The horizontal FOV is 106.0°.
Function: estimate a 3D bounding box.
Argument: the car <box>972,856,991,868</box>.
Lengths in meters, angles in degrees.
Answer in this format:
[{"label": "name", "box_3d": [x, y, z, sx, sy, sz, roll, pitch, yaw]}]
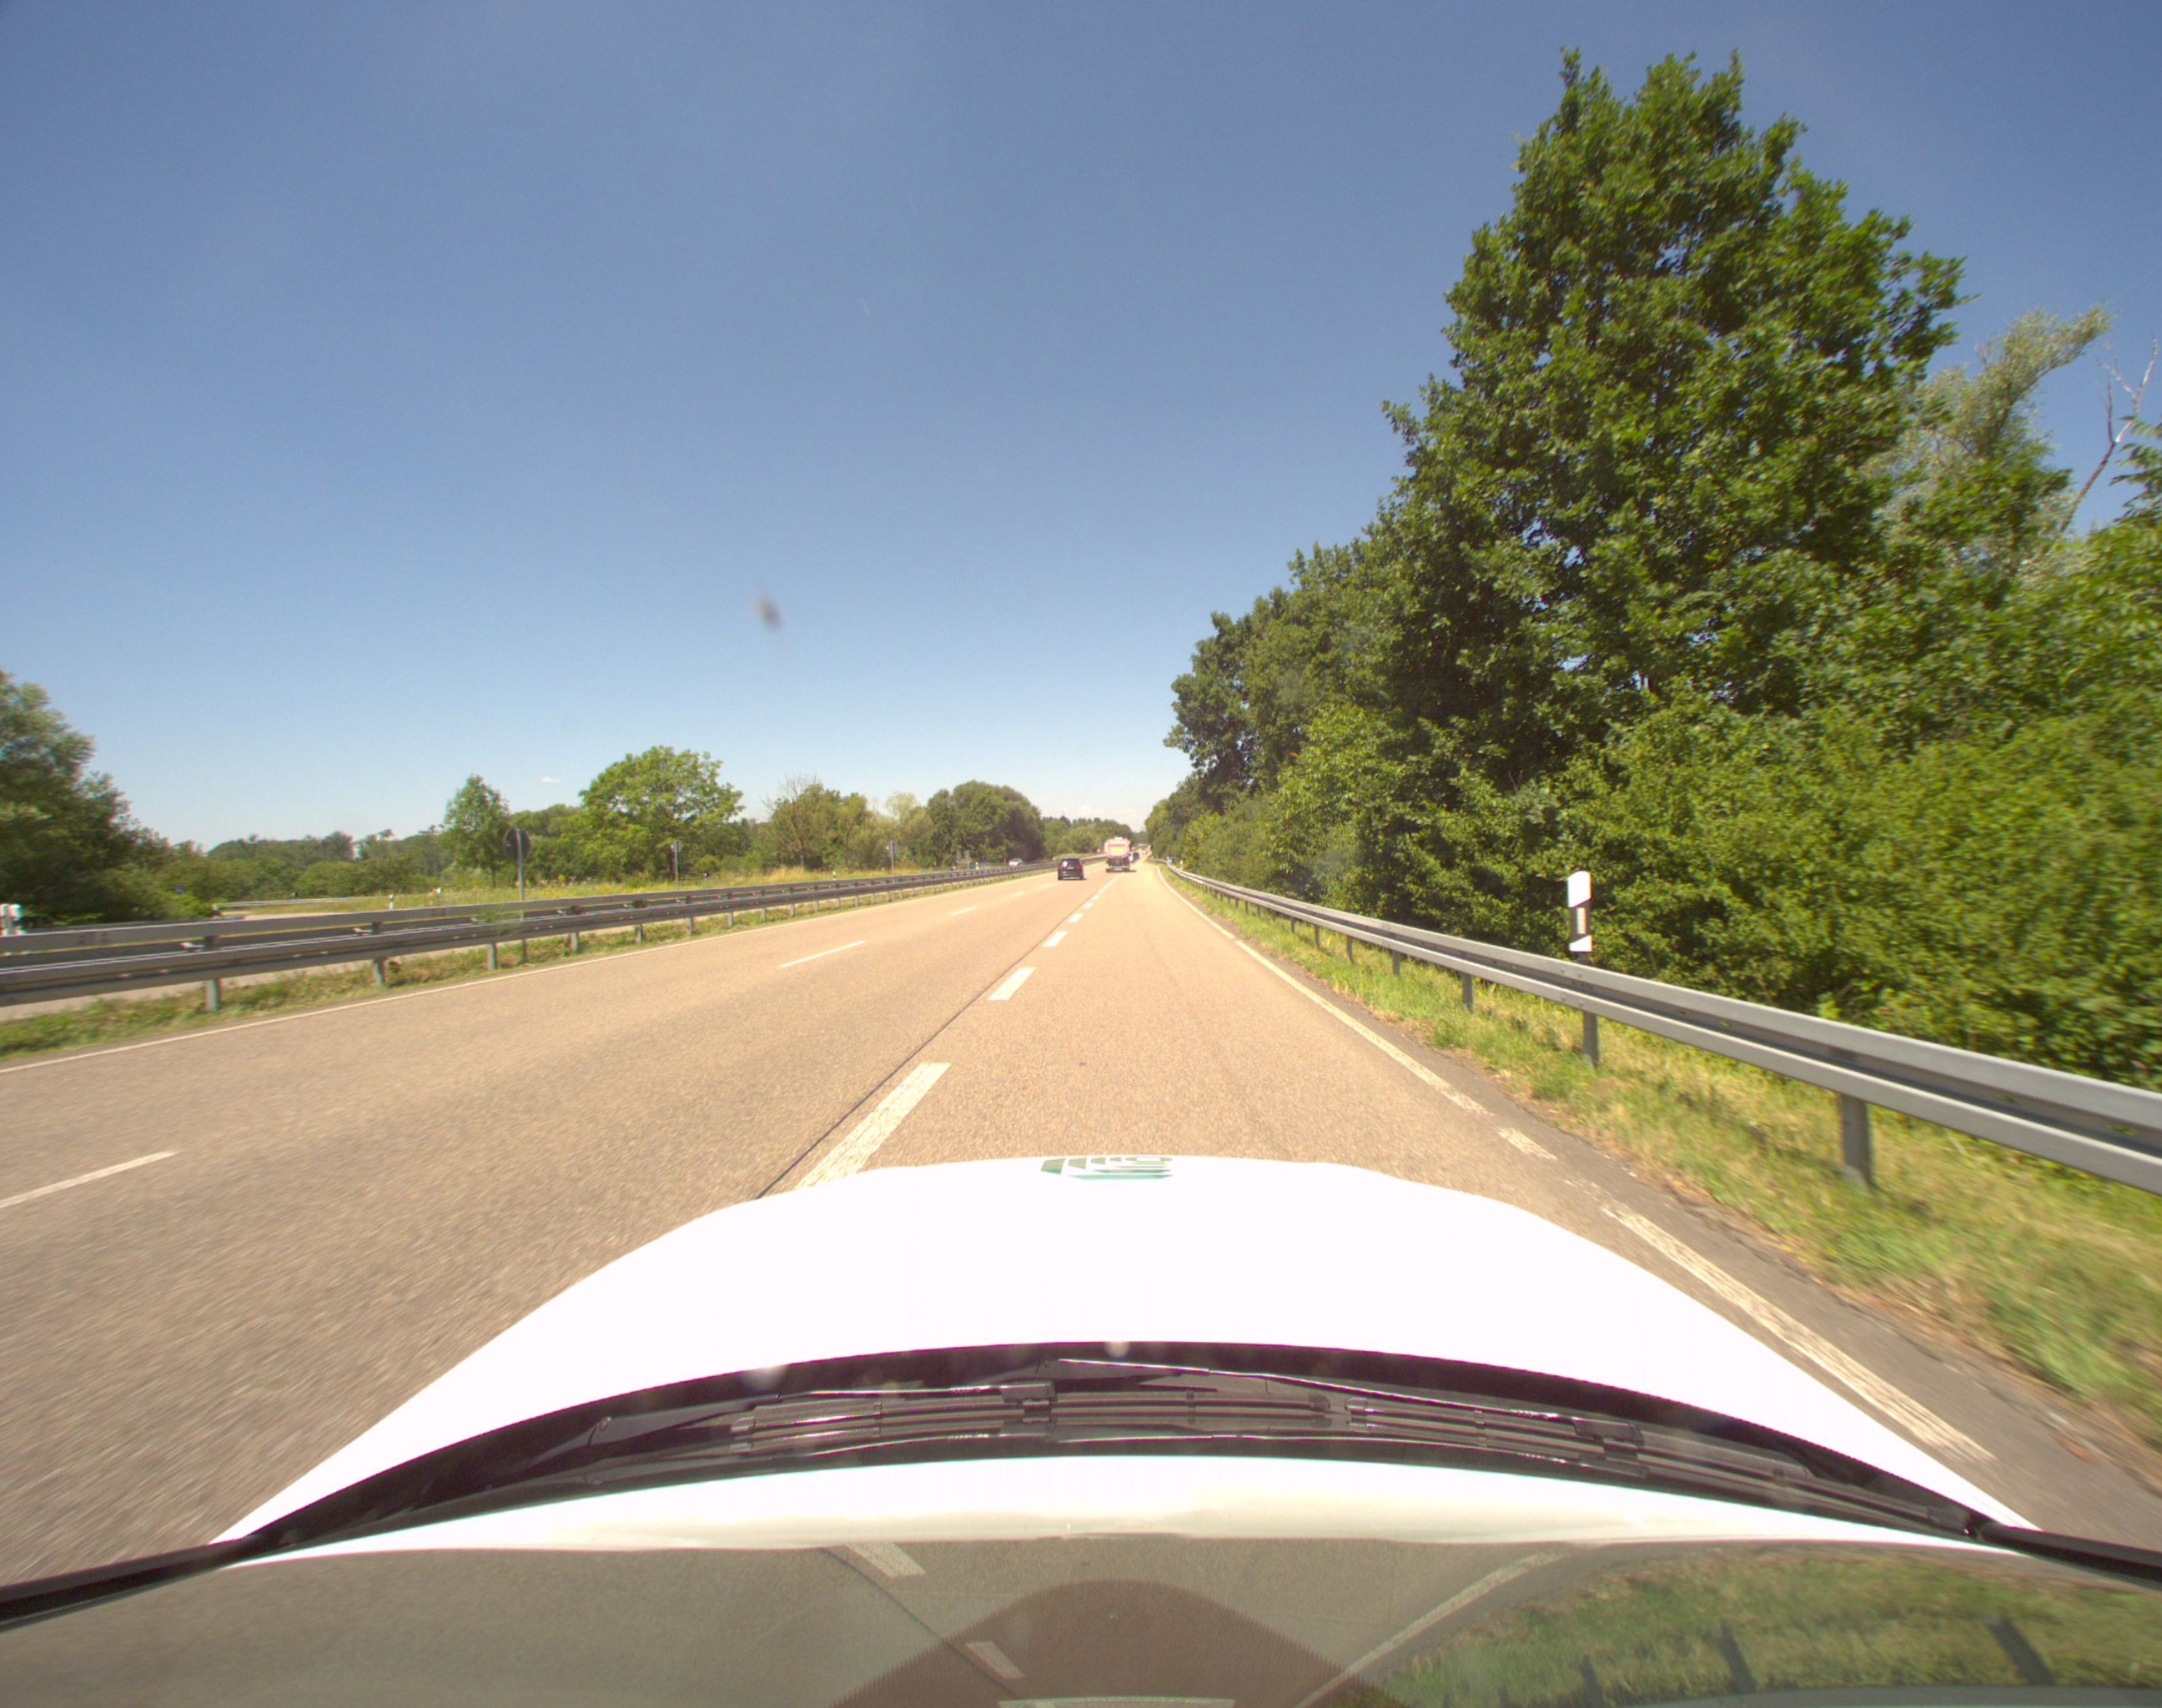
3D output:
[{"label": "car", "box_3d": [-12.829, 1.080, 105.155, 1.912, 1.489, 3.998, -1, -1, -1]}]

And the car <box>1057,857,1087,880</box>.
[{"label": "car", "box_3d": [-0.641, 1.108, 62.069, 1.849, 1.671, 4.005, -1, -1, 5]}]

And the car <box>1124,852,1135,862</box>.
[{"label": "car", "box_3d": [8.780, 0.534, 147.000, 1.849, 1.671, 4.005, -1, -1, 5]}]

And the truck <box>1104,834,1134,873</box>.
[{"label": "truck", "box_3d": [4.248, -0.111, 89.543, 2.707, 3.930, 12.388, -1, 1, 5]}]

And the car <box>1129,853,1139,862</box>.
[{"label": "car", "box_3d": [11.018, 0.776, 168.655, 1.849, 1.671, 4.005, -1, -1, 5]}]

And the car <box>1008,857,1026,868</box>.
[{"label": "car", "box_3d": [-10.543, 1.369, 134.727, 1.714, 1.645, 4.955, -1, 0, 9]}]

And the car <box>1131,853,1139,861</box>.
[{"label": "car", "box_3d": [12.551, 0.734, 190.159, 1.849, 1.671, 4.005, -1, -1, 5]}]
